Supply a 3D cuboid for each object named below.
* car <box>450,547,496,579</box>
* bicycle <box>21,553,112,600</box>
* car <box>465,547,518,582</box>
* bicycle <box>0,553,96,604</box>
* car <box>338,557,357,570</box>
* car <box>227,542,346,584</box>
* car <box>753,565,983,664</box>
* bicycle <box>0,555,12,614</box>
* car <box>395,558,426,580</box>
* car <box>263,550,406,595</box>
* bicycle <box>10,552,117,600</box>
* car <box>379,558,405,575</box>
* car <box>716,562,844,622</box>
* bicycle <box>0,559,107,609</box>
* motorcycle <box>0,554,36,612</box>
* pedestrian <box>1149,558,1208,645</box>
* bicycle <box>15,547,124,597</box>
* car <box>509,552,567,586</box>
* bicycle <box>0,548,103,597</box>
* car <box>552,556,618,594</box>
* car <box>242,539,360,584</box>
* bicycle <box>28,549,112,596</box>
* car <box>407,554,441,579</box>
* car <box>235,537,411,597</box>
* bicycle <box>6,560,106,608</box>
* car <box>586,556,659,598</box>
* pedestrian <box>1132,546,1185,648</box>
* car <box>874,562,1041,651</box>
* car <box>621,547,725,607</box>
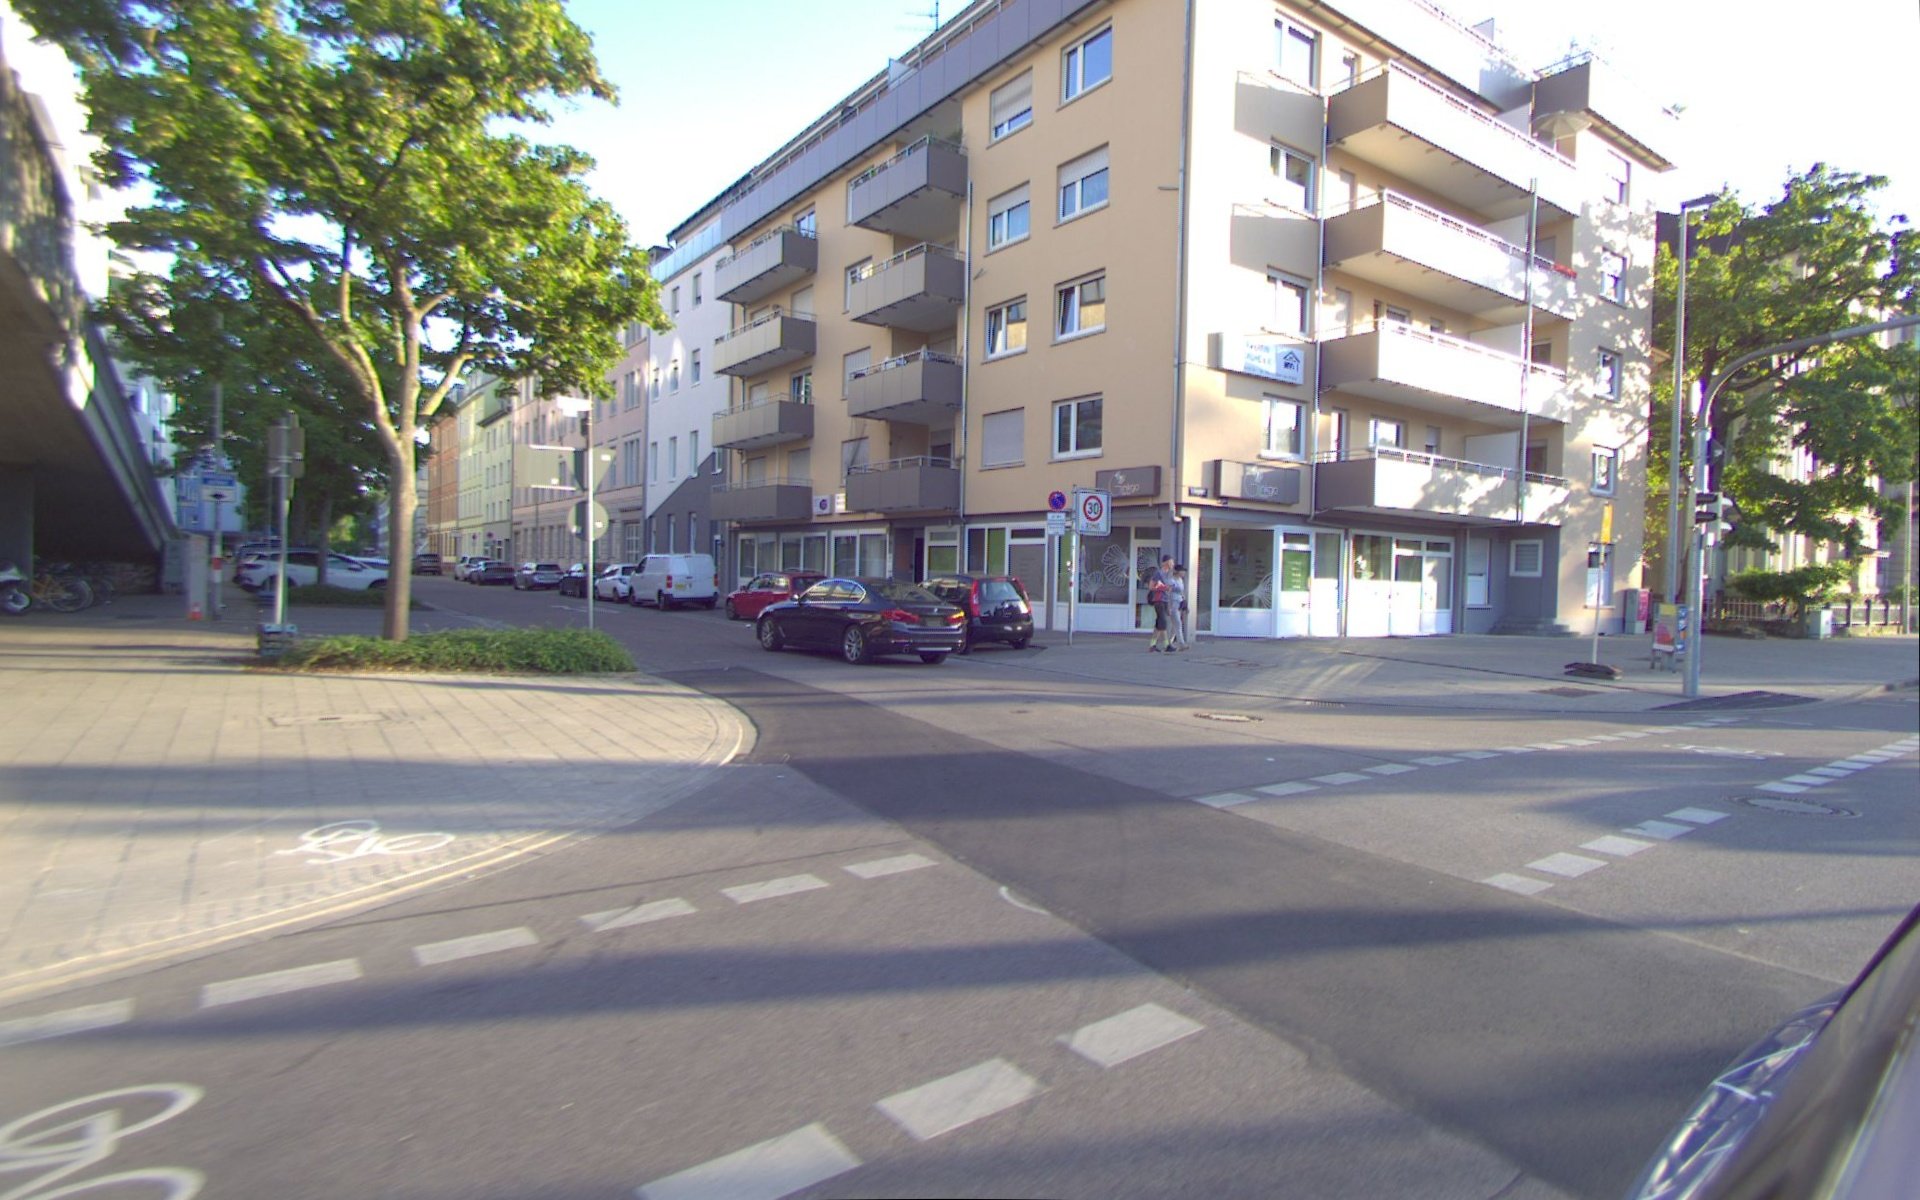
[{"bbox_3d":[-32.203,-2.404,66.835,1.995,1.851,4.781,1,0,-35],"label":"car"},{"bbox_3d":[-21.168,-0.539,23.989,0.648,1.050,1.544,3,2,42],"label":"bicycle"},{"bbox_3d":[-28.009,-2.084,60.408,2.118,1.851,4.781,0,0,-35],"label":"car"},{"bbox_3d":[-19.689,-0.452,21.856,1.539,1.050,0.485,1,2,-40],"label":"bicycle"},{"bbox_3d":[-86.704,-5.165,143.259,1.995,1.542,4.399,0,0,-35],"label":"car"},{"bbox_3d":[-27.316,-1.475,41.113,3.955,1.555,1.641,0,-1,-37],"label":"car"},{"bbox_3d":[-1.774,0.195,17.976,1.773,1.488,4.619,2,0,-39],"label":"car"},{"bbox_3d":[-18.448,-0.308,18.265,1.889,1.071,0.782,1,2,-40],"label":"bicycle"},{"bbox_3d":[-50.424,-2.818,92.816,1.995,1.851,4.781,1,0,-35],"label":"car"},{"bbox_3d":[-22.160,-0.932,35.923,4.105,1.479,1.752,0,-1,-40],"label":"car"},{"bbox_3d":[-20.659,-0.540,23.368,1.798,1.050,0.485,1,2,-40],"label":"bicycle"},{"bbox_3d":[-60.069,-3.521,106.917,1.995,1.542,4.399,0,0,-35],"label":"car"},{"bbox_3d":[-5.101,-0.289,28.272,1.628,1.457,4.224,-4,5,-40],"label":"car"},{"bbox_3d":[-18.738,-0.322,20.856,1.734,0.963,0.699,1,2,-40],"label":"bicycle"},{"bbox_3d":[-18.873,-0.350,19.061,2.115,1.071,0.786,1,2,-40],"label":"motorcycle"},{"bbox_3d":[4.242,0.009,19.654,0.752,1.635,0.822,-1,2,-34],"label":"pedestrian"},{"bbox_3d":[-21.776,-0.675,24.774,0.648,1.142,1.920,3,2,42],"label":"bicycle"},{"bbox_3d":[-21.472,-1.547,51.432,1.703,1.575,4.196,1,0,-37],"label":"car"},{"bbox_3d":[-22.537,-0.665,24.960,0.648,1.142,2.051,3,2,42],"label":"bicycle"},{"bbox_3d":[-16.103,-1.088,43.346,1.576,1.504,4.250,-1,3,-36],"label":"car"},{"bbox_3d":[-28.515,-1.639,43.830,4.203,1.777,1.641,0,-1,-37],"label":"car"},{"bbox_3d":[-22.732,-0.692,25.864,0.648,1.142,1.544,3,2,42],"label":"bicycle"},{"bbox_3d":[-44.924,-2.769,84.757,1.995,1.851,4.781,1,0,-35],"label":"car"},{"bbox_3d":[-19.836,-0.973,31.611,4.536,1.714,1.753,0,-1,-35],"label":"car"},{"bbox_3d":[-19.091,-0.333,21.408,1.539,0.963,0.485,1,2,-40],"label":"bicycle"},{"bbox_3d":[-13.262,-0.921,39.602,1.576,1.504,4.000,-1,3,-36],"label":"car"},{"bbox_3d":[3.757,-0.080,19.158,0.534,1.882,0.840,-1,2,-35],"label":"pedestrian"},{"bbox_3d":[-0.149,0.052,21.109,1.585,1.578,3.817,-4,4,-35],"label":"car"},{"bbox_3d":[-10.002,-0.855,35.056,1.964,1.886,4.540,-5,5,-36],"label":"car"}]
